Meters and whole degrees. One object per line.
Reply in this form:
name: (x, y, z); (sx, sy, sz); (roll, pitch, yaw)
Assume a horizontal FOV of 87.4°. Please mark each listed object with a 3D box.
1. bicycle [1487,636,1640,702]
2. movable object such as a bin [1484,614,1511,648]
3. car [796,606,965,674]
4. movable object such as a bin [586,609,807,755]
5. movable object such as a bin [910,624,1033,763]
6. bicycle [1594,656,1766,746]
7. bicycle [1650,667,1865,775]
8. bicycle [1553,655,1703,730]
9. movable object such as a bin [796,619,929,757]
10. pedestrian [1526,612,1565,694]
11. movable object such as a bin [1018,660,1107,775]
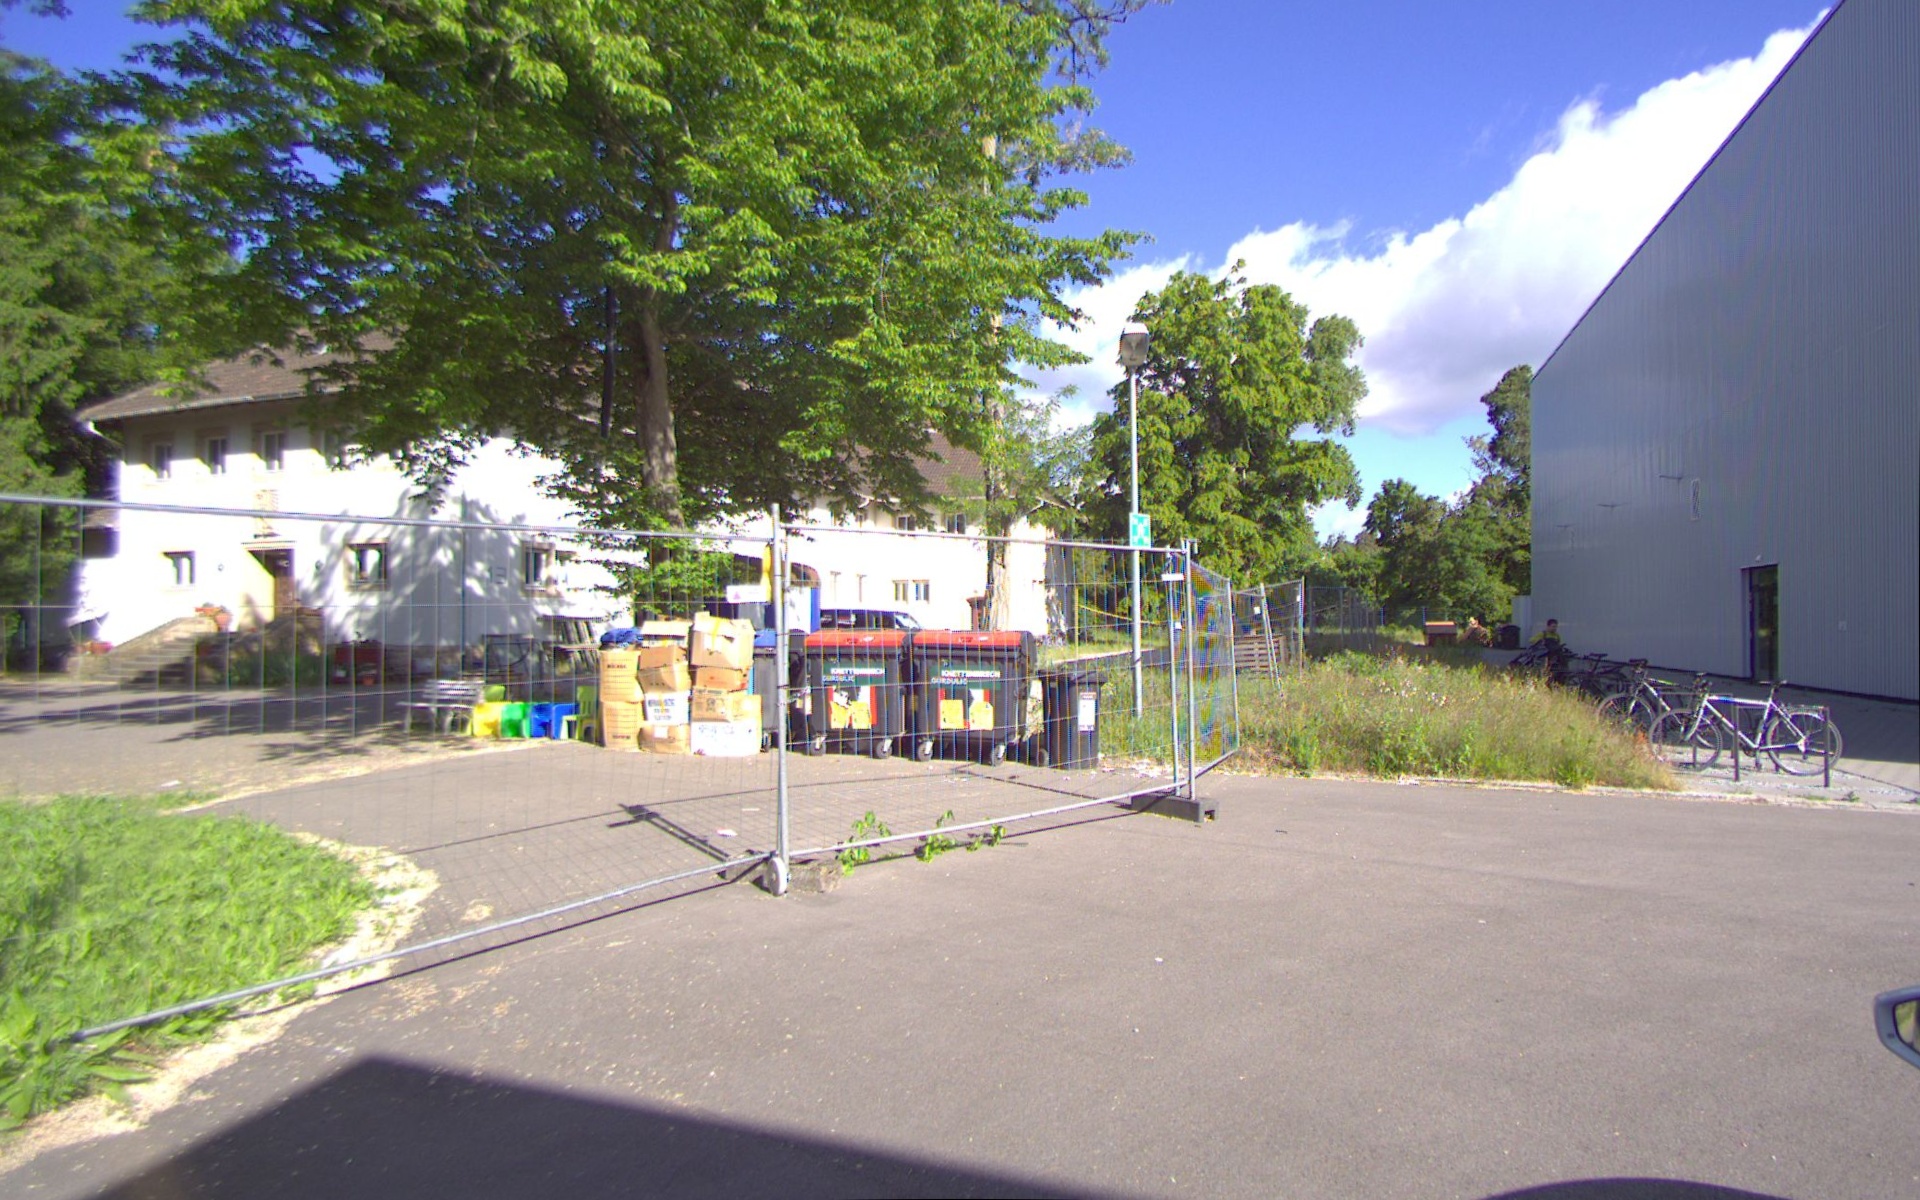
bicycle: (12.468, 1.395, 20.888); (2.589, 1.283, 1.140); (-1, -1, 25)
movable object such as a bin: (33.181, 1.895, 62.000); (1.396, 2.040, 1.124); (0, -1, 25)
car: (-2.354, 1.183, 30.131); (4.630, 1.927, 2.001); (0, -1, 16)
movable object such as a bin: (-3.112, 0.928, 11.988); (2.249, 1.612, 1.175); (0, -1, 15)
movable object such as a bin: (0.139, 0.997, 11.111); (1.223, 1.463, 0.703); (0, -1, 15)
bicycle: (9.463, 1.311, 13.272); (1.763, 1.097, 0.524); (0, -1, 22)
bicycle: (8.581, 1.288, 10.866); (1.769, 1.076, 0.459); (0, -1, 16)
bicycle: (10.364, 1.420, 15.658); (1.856, 1.109, 0.526); (-1, -2, 19)
movable object such as a bin: (-1.105, 0.978, 11.543); (1.315, 1.504, 0.807); (0, -1, 14)
pedestrian: (12.691, 1.133, 21.764); (0.629, 1.751, 0.507); (1, -1, -36)
movable object such as a bin: (1.090, 1.210, 10.601); (0.724, 1.112, 0.819); (0, -1, 24)
